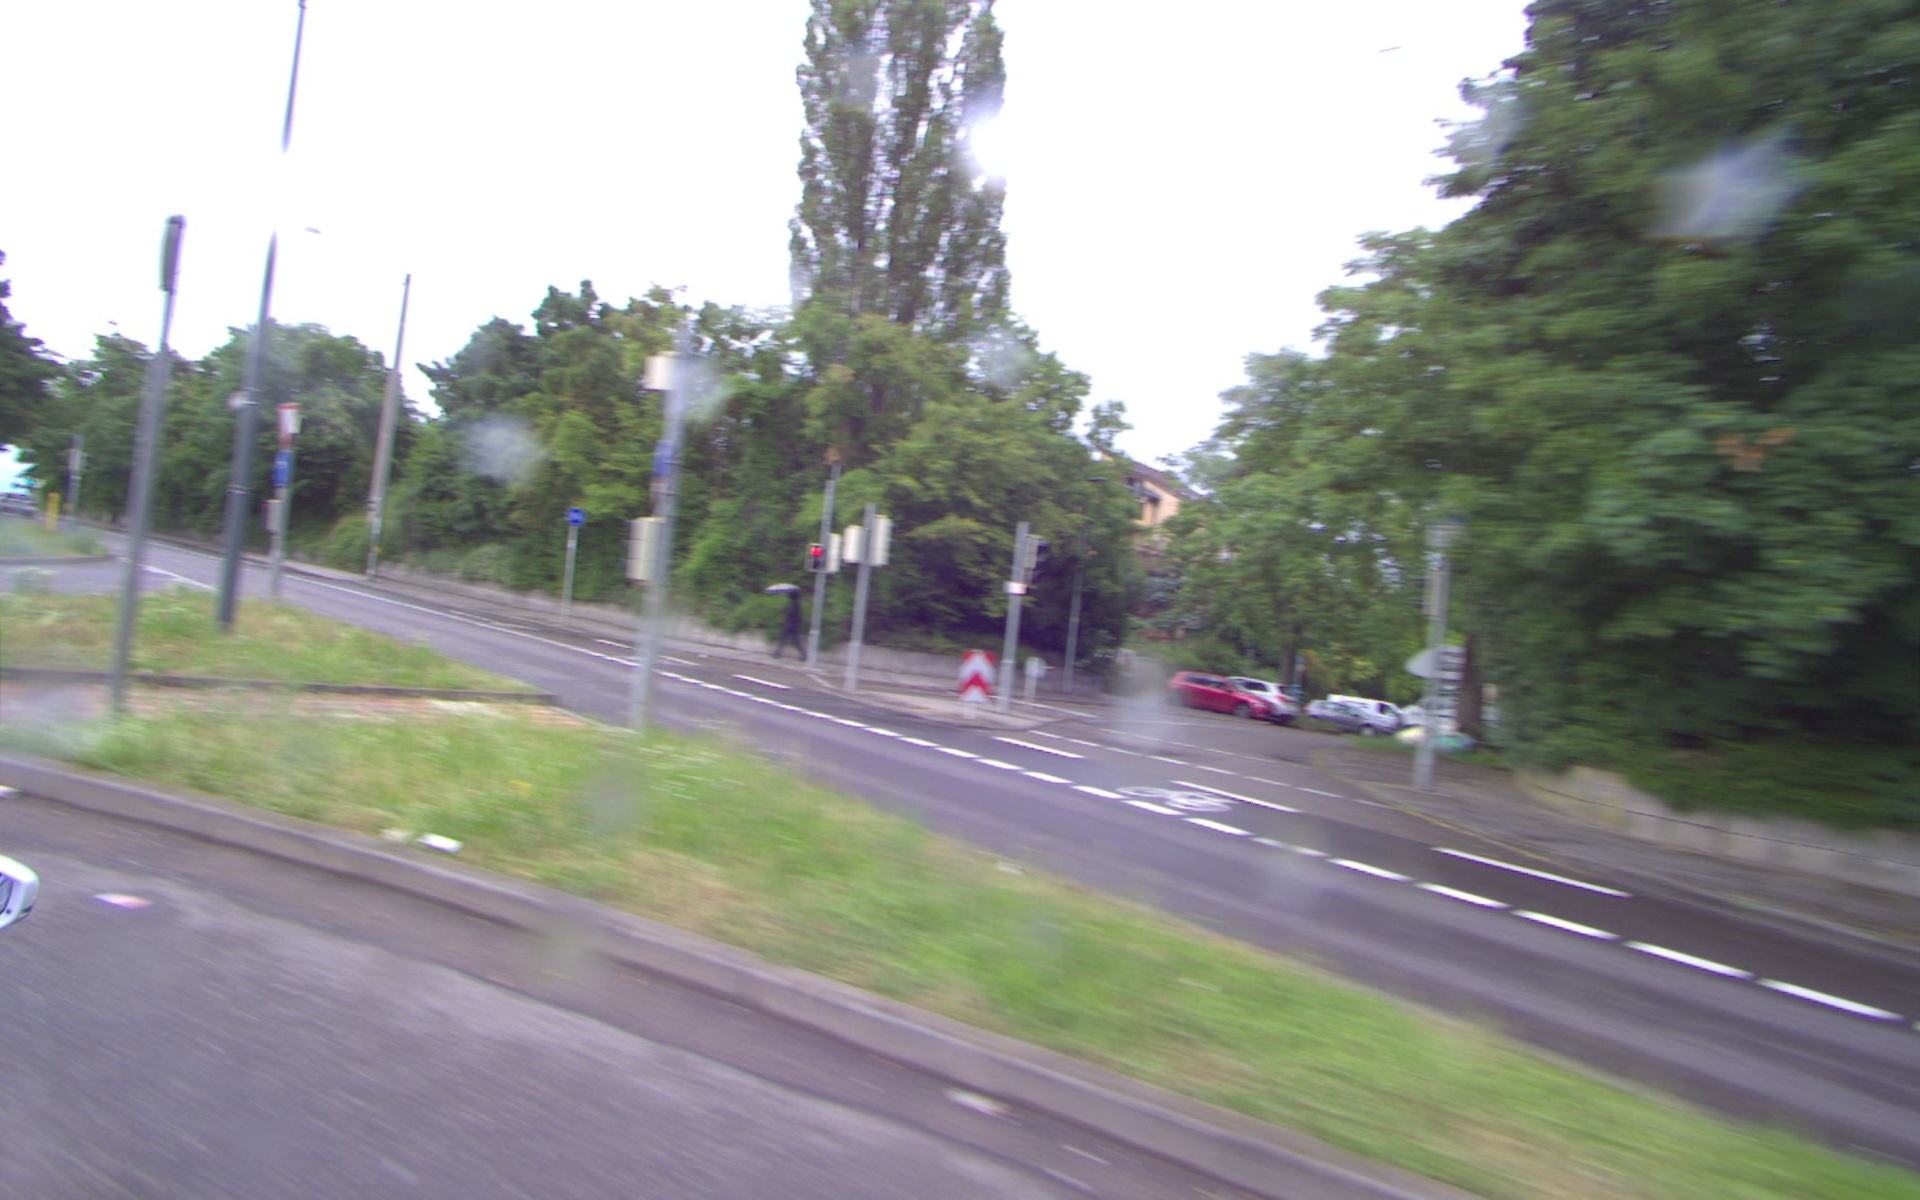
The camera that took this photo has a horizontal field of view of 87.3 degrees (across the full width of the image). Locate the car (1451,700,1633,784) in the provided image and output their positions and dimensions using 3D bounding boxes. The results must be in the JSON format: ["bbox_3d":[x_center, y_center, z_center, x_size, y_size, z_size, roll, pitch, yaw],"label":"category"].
[{"bbox_3d":[13.813,3.329,23.952,3.422,1.370,1.672,6,-1,39],"label":"car"}]

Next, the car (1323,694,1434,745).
[{"bbox_3d":[20.774,5.914,50.026,4.627,1.753,1.872,6,-1,39],"label":"car"}]

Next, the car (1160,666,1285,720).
[{"bbox_3d":[9.454,3.362,36.433,3.942,1.370,1.672,6,-1,39],"label":"car"}]

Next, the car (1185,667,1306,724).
[{"bbox_3d":[10.789,3.600,38.117,3.942,1.567,1.672,6,-1,39],"label":"car"}]

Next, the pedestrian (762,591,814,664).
[{"bbox_3d":[-4.064,0.654,23.780,0.805,1.624,0.675,9,-4,-44],"label":"pedestrian"}]

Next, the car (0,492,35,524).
[{"bbox_3d":[-55.234,-5.421,58.448,3.739,1.539,1.702,7,-2,42],"label":"car"}]

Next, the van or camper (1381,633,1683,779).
[{"bbox_3d":[14.935,2.678,26.589,6.343,2.788,2.419,6,-1,42],"label":"van or camper"}]
